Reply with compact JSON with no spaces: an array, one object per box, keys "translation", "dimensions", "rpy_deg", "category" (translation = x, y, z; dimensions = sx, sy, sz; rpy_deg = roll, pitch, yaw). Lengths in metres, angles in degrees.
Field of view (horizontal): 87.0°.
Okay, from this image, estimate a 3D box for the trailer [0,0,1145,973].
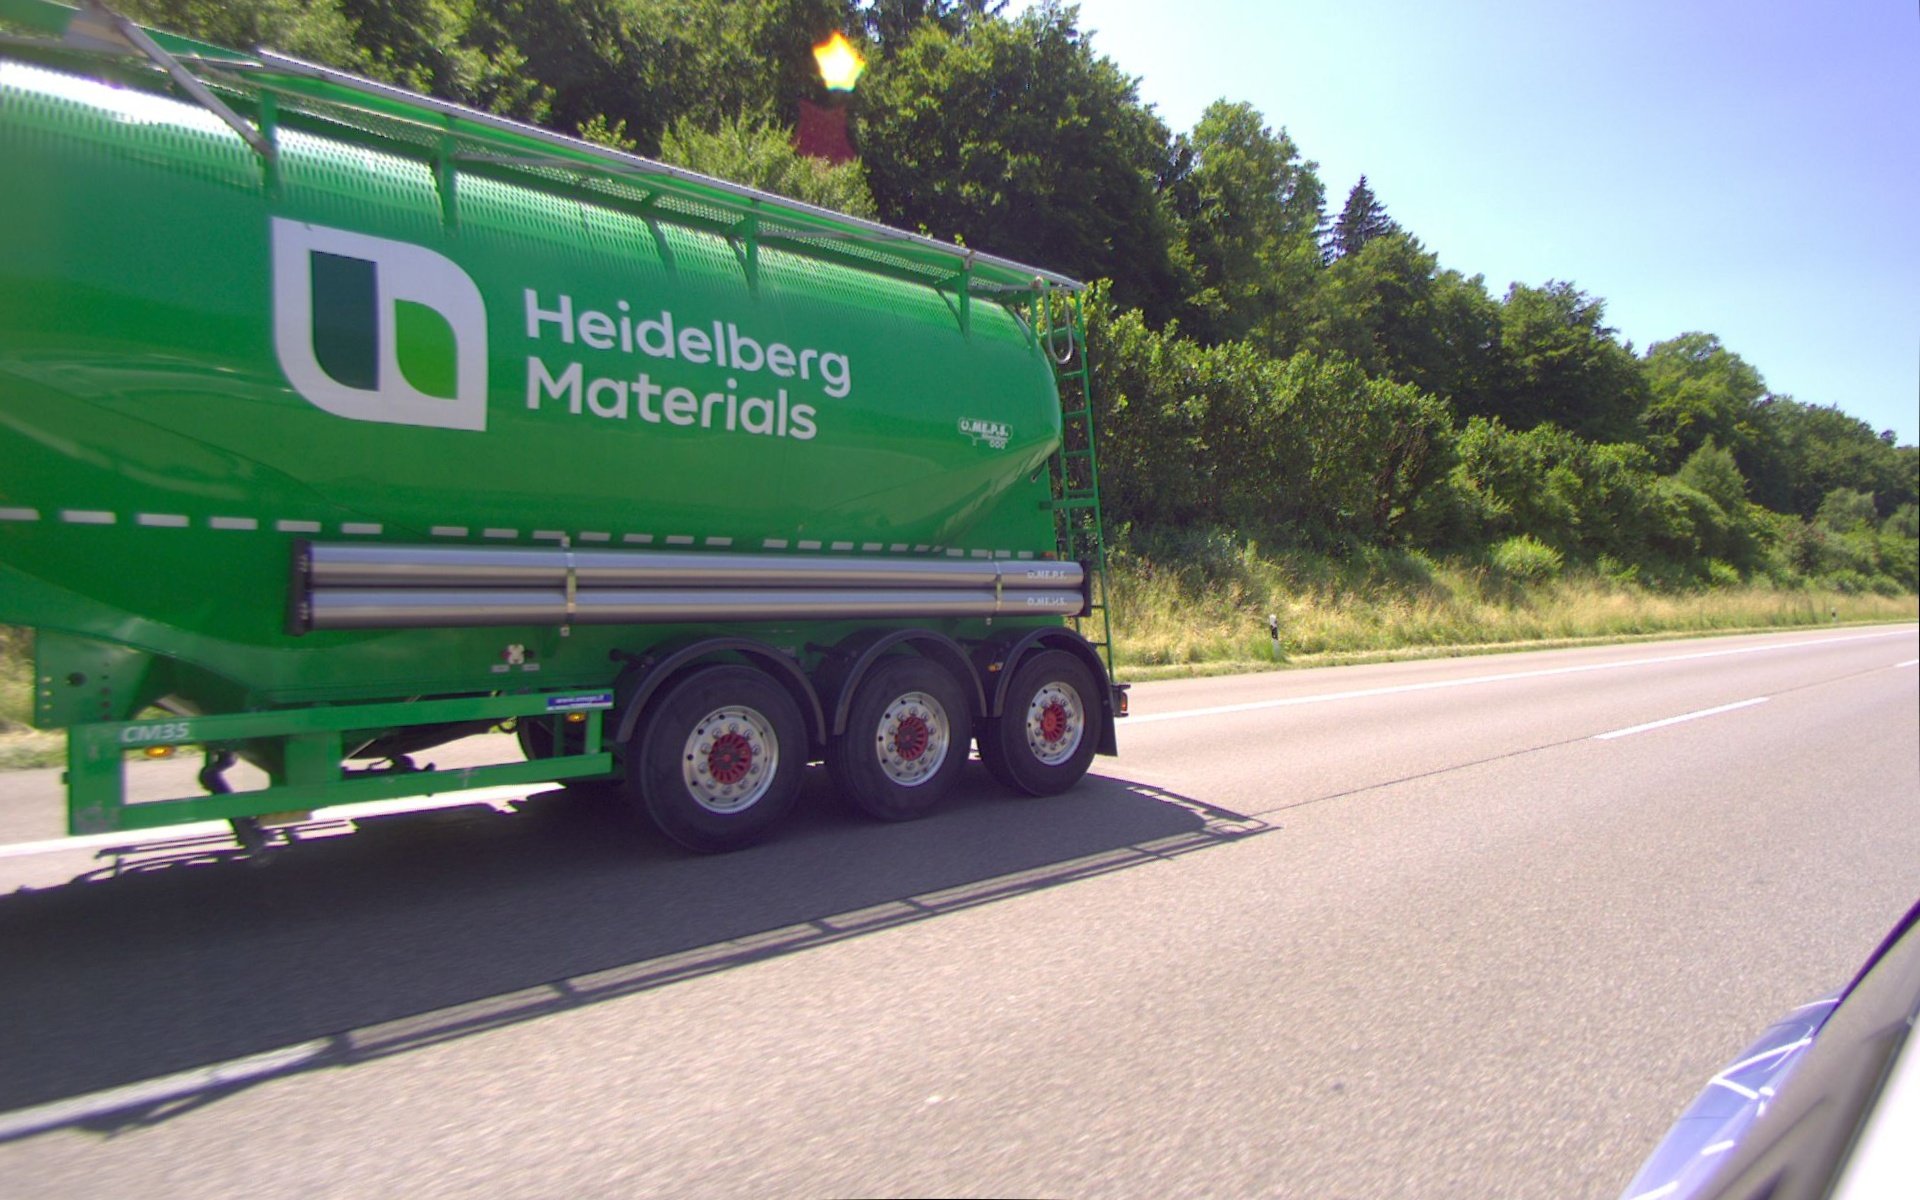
[{"translation":[-3.378,-0.687,5.457],"dimensions":[10.281,4.079,2.593],"rpy_deg":[0,0,-39],"category":"trailer"}]
